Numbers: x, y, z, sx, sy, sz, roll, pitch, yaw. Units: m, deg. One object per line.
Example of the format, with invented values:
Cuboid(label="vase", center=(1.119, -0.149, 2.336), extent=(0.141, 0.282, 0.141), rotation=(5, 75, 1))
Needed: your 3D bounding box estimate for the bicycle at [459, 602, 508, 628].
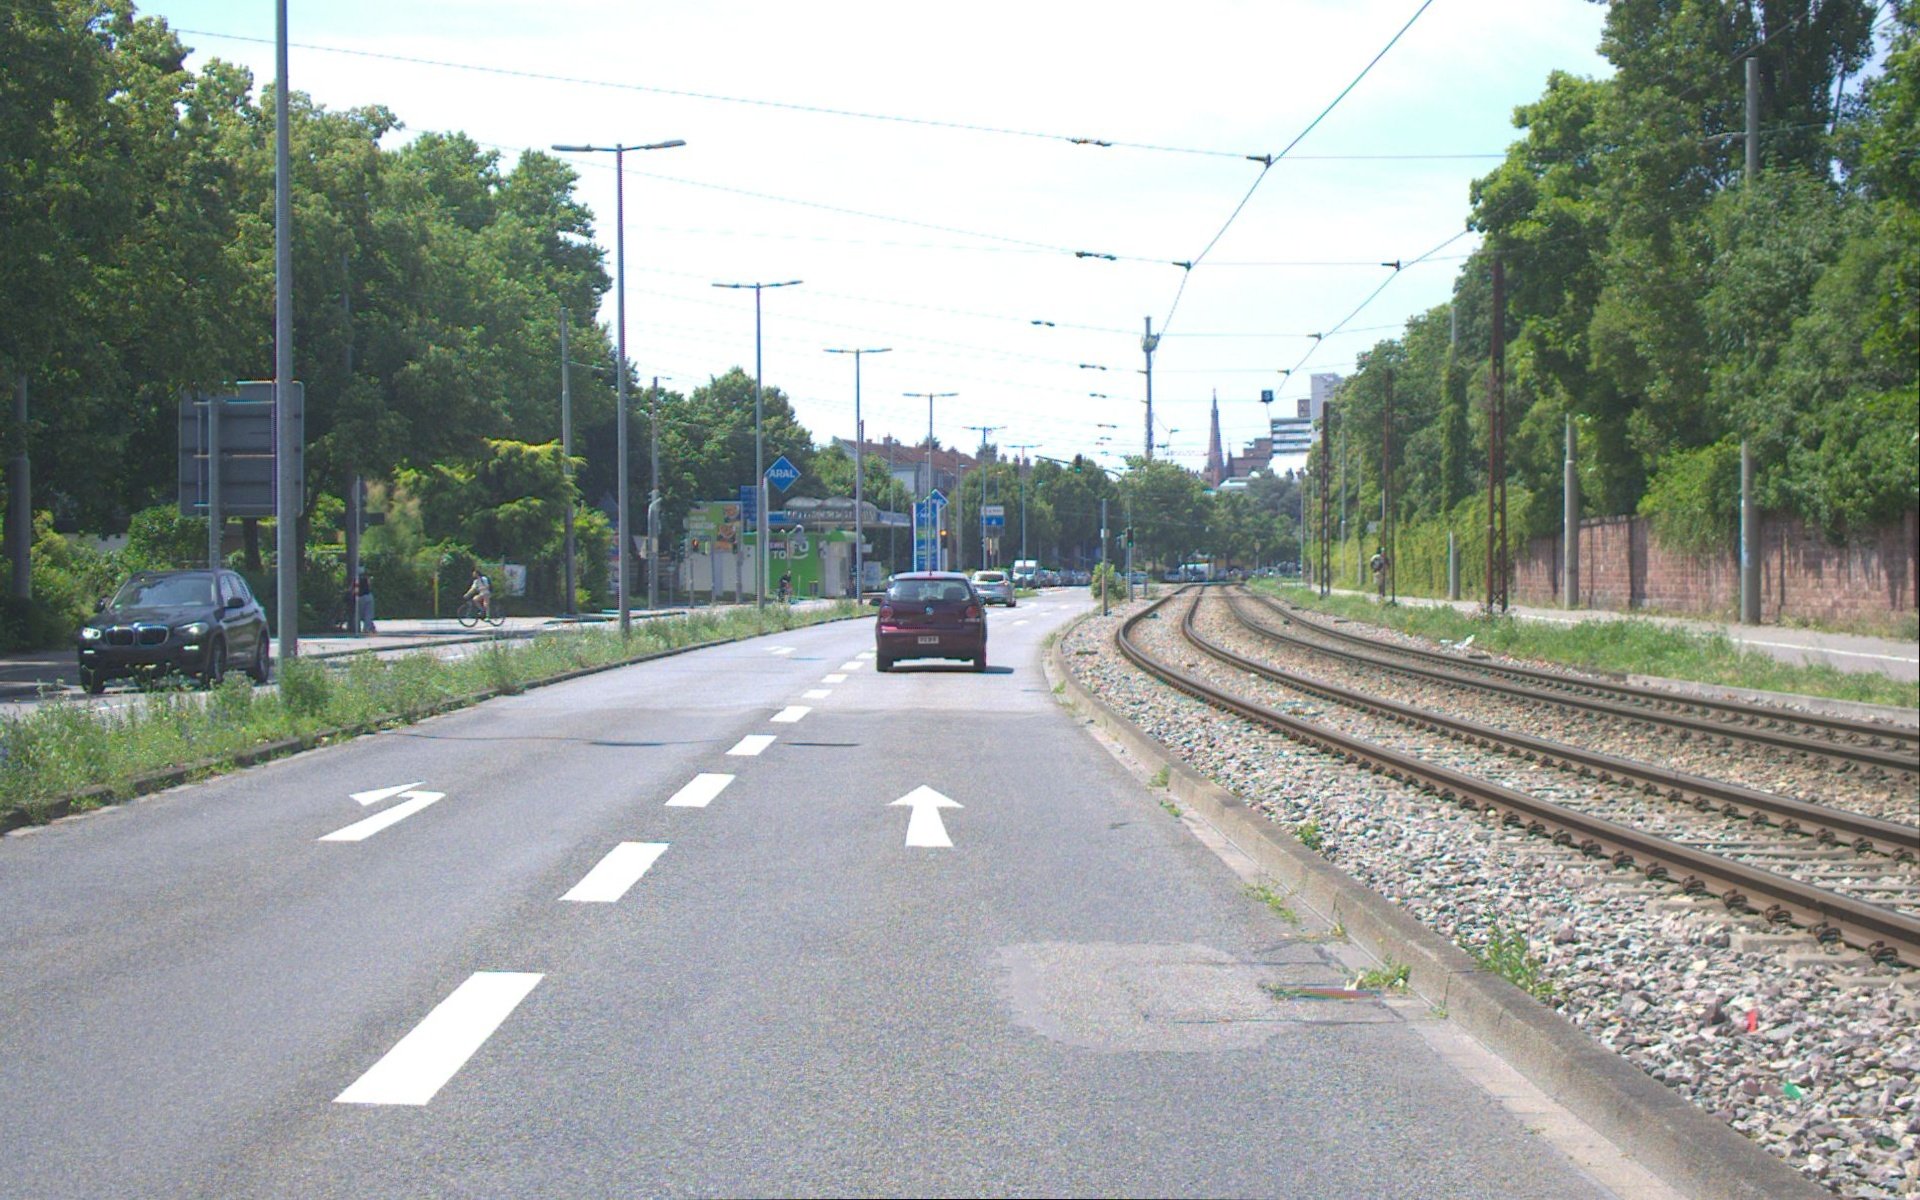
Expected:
Cuboid(label="bicycle", center=(-14.683, 0.454, 106.021), extent=(1.428, 0.771, 0.497), rotation=(-1, 1, -37))

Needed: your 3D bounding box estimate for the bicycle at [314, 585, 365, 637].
Cuboid(label="bicycle", center=(-16.098, 0.283, 89.193), extent=(0.646, 1.323, 1.572), rotation=(-1, 0, 16))

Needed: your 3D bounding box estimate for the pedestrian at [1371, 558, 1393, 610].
Cuboid(label="pedestrian", center=(14.071, -0.548, 114.722), extent=(0.661, 1.720, 0.816), rotation=(0, 0, 3))

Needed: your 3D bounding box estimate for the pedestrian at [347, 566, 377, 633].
Cuboid(label="pedestrian", center=(-15.503, -0.016, 89.121), extent=(0.549, 1.712, 0.603), rotation=(-1, 0, 17))

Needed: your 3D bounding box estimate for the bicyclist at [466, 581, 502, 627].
Cuboid(label="bicyclist", center=(-14.688, 0.130, 106.020), extent=(0.961, 1.398, 0.491), rotation=(-1, 0, -37))

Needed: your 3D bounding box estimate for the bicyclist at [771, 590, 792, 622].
Cuboid(label="bicyclist", center=(-9.152, 0.303, 176.129), extent=(0.944, 1.588, 1.088), rotation=(1, -1, -10))

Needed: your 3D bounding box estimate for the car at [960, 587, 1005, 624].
Cuboid(label="car", center=(0.897, 0.233, 139.903), extent=(1.703, 1.475, 3.716), rotation=(1, 0, -1))

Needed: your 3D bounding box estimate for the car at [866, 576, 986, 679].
Cuboid(label="car", center=(-0.473, 0.419, 51.345), extent=(1.703, 1.472, 3.716), rotation=(0, -1, 1))

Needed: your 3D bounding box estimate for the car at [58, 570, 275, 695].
Cuboid(label="car", center=(-11.080, 0.439, 48.338), extent=(1.923, 1.620, 4.756), rotation=(-2, 0, 0))
